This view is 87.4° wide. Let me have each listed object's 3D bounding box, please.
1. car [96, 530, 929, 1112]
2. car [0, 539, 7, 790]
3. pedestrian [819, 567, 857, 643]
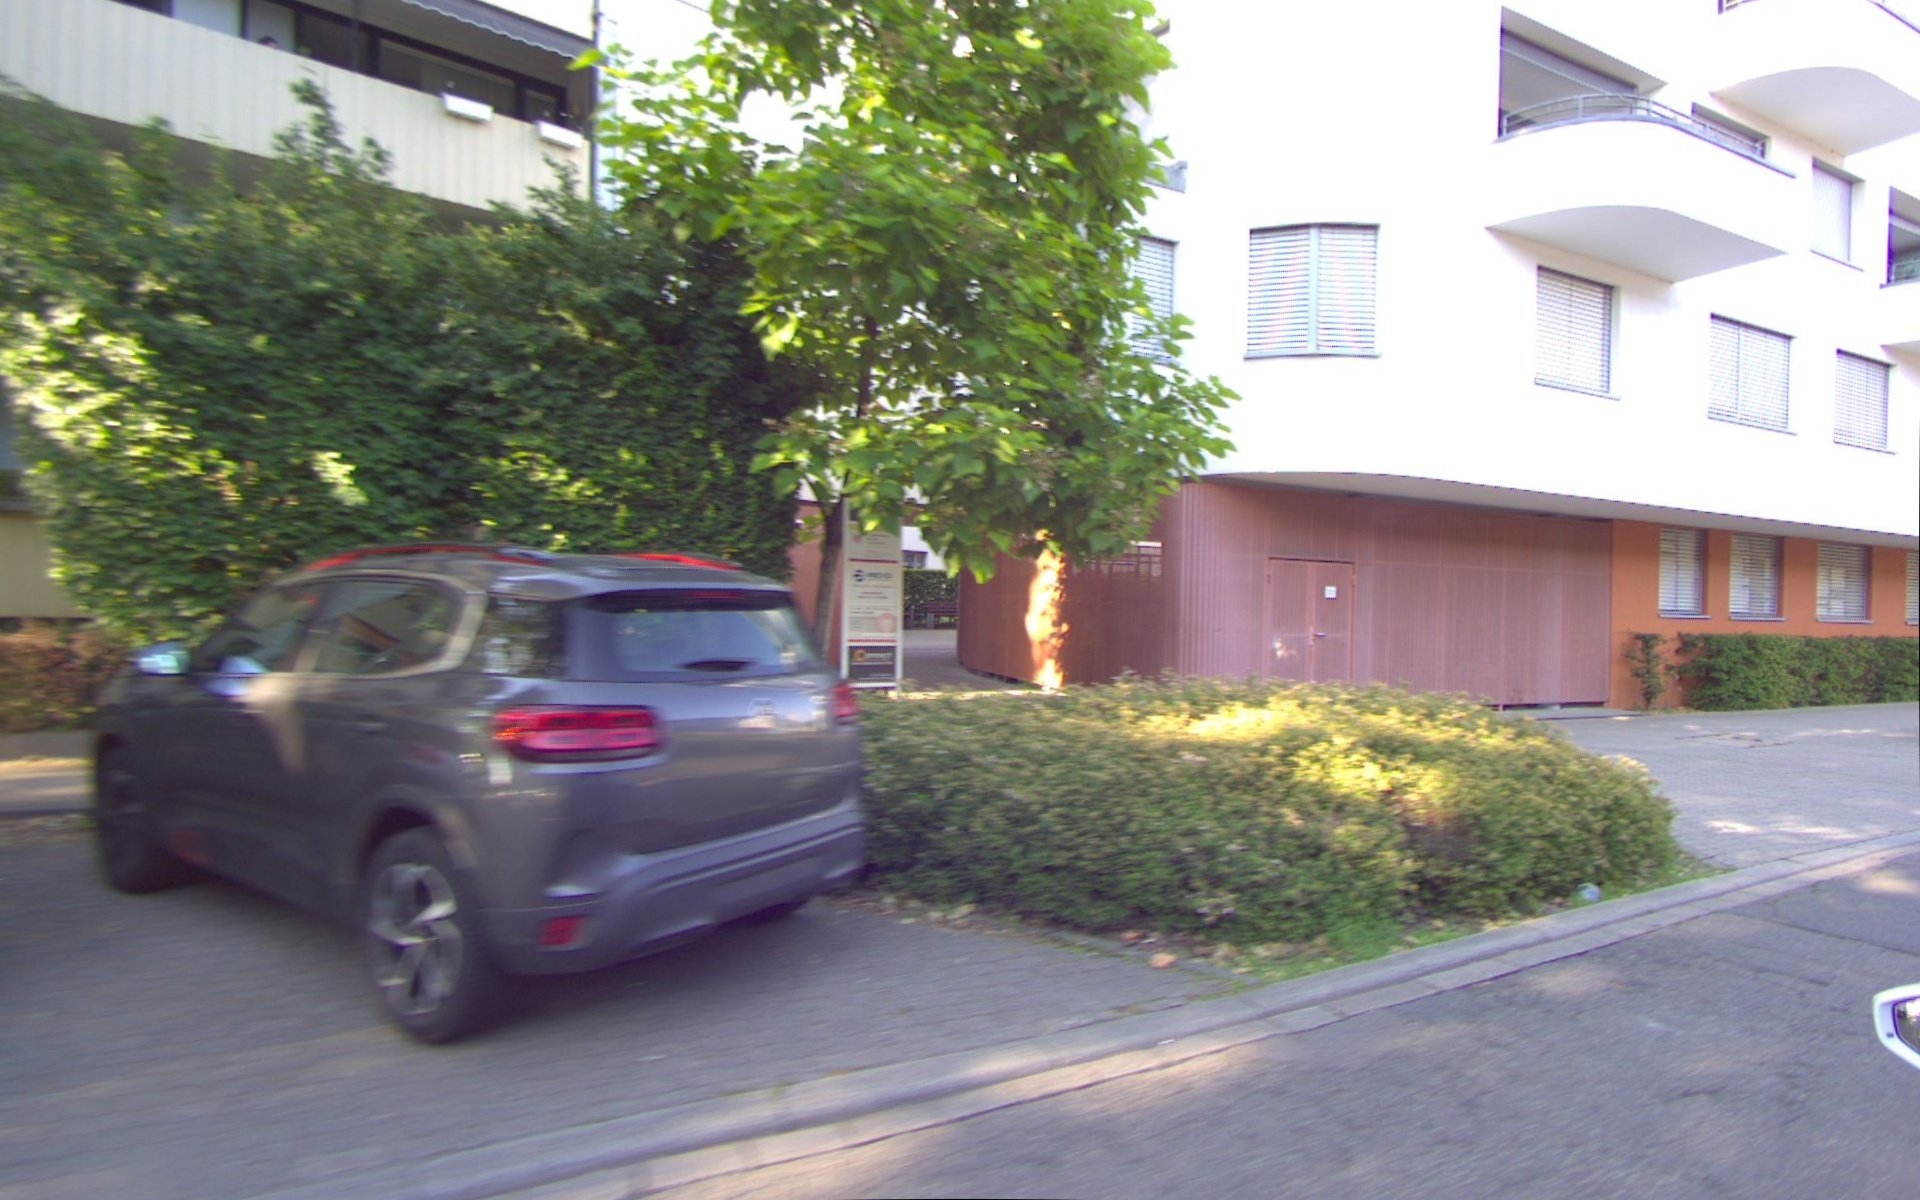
[{"bbox_3d":[-2.240,0.599,4.686,3.892,1.684,1.695,2,0,33],"label":"car"},{"bbox_3d":[-5.335,0.555,3.855,4.073,1.662,1.770,2,0,37],"label":"car"},{"bbox_3d":[-3.391,0.140,27.881,0.815,2.040,0.736,2,0,-26],"label":"pedestrian"}]
